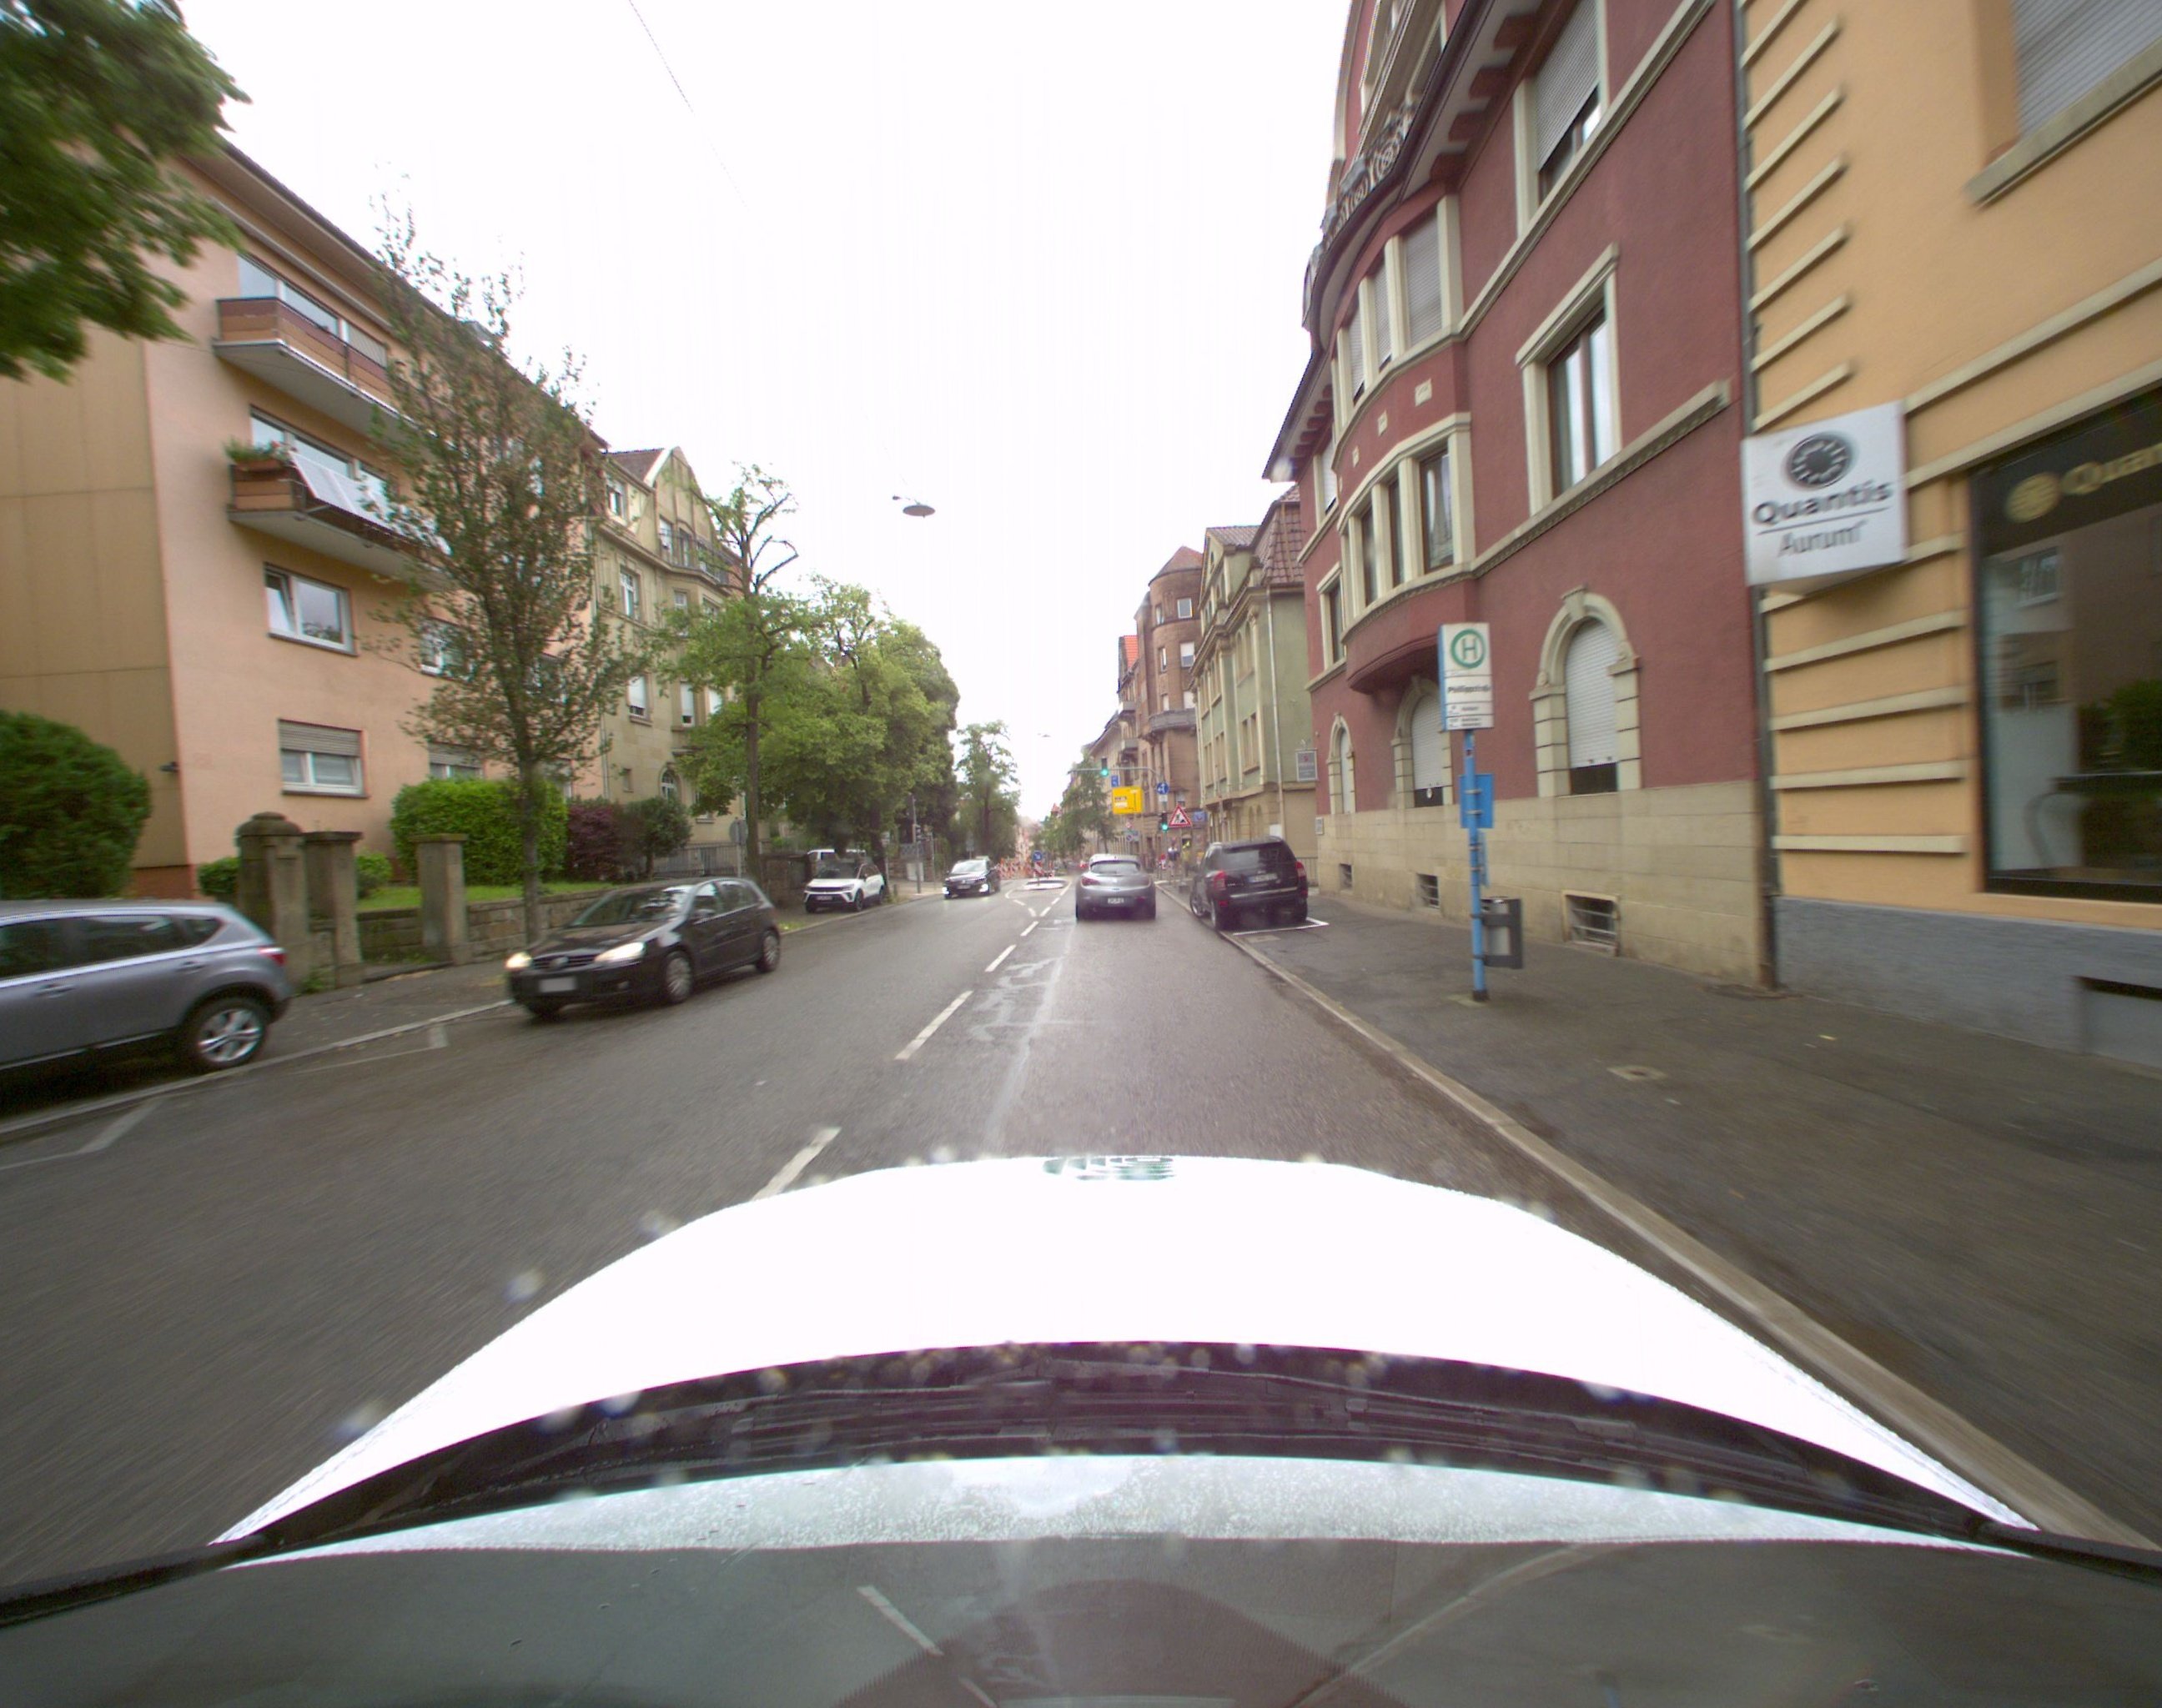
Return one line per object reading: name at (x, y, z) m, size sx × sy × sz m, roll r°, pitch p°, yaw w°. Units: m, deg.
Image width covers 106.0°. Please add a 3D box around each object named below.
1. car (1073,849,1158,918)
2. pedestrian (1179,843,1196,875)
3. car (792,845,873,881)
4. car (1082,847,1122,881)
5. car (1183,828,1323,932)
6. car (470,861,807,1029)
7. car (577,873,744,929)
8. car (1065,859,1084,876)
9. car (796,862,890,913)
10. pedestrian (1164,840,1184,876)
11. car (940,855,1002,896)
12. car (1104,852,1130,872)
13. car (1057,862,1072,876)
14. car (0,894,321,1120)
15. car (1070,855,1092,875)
car at (0.860, 0.672, 19.764) m, size 1.804 × 1.449 × 3.872 m, roll -2°, pitch -1°, yaw 3°
pedestrian at (5.413, 0.250, 41.484) m, size 0.592 × 1.584 × 0.669 m, roll -5°, pitch 0°, yaw 20°
car at (-16.237, 0.557, 53.349) m, size 4.627 × 2.048 × 2.034 m, roll 3°, pitch 2°, yaw 16°
car at (1.035, 0.507, 39.241) m, size 1.765 × 1.504 × 3.871 m, roll -2°, pitch -1°, yaw 2°
car at (3.278, 0.493, 16.493) m, size 1.869 × 1.629 × 4.700 m, roll -6°, pitch -1°, yaw 2°
car at (-5.465, 0.989, 10.922) m, size 1.765 × 1.517 × 4.594 m, roll -4°, pitch 1°, yaw 2°
car at (-12.531, 1.371, 24.461) m, size 3.974 × 1.326 × 1.837 m, roll -3°, pitch 0°, yaw 0°
car at (-0.689, 1.454, 84.746) m, size 1.654 × 1.543 × 3.658 m, roll -5°, pitch -1°, yaw -5°
car at (-7.969, 1.074, 27.694) m, size 1.734 × 1.559 × 4.304 m, roll -1°, pitch -1°, yaw 2°
pedestrian at (4.773, 0.213, 41.721) m, size 0.712 × 1.774 × 0.669 m, roll -5°, pitch 0°, yaw 20°
car at (-4.419, 0.827, 33.403) m, size 1.809 × 1.517 × 4.549 m, roll -2°, pitch 0°, yaw 1°
car at (3.131, 0.757, 71.606) m, size 1.654 × 1.543 × 3.658 m, roll -5°, pitch -1°, yaw -5°
car at (-2.158, 1.960, 105.356) m, size 1.654 × 1.543 × 3.658 m, roll -5°, pitch -1°, yaw -5°
car at (-8.708, 1.169, 6.156) m, size 1.734 × 1.559 × 4.305 m, roll -1°, pitch -1°, yaw 3°
car at (-0.023, 0.946, 69.483) m, size 1.652 × 1.543 × 3.662 m, roll -5°, pitch -1°, yaw -2°
